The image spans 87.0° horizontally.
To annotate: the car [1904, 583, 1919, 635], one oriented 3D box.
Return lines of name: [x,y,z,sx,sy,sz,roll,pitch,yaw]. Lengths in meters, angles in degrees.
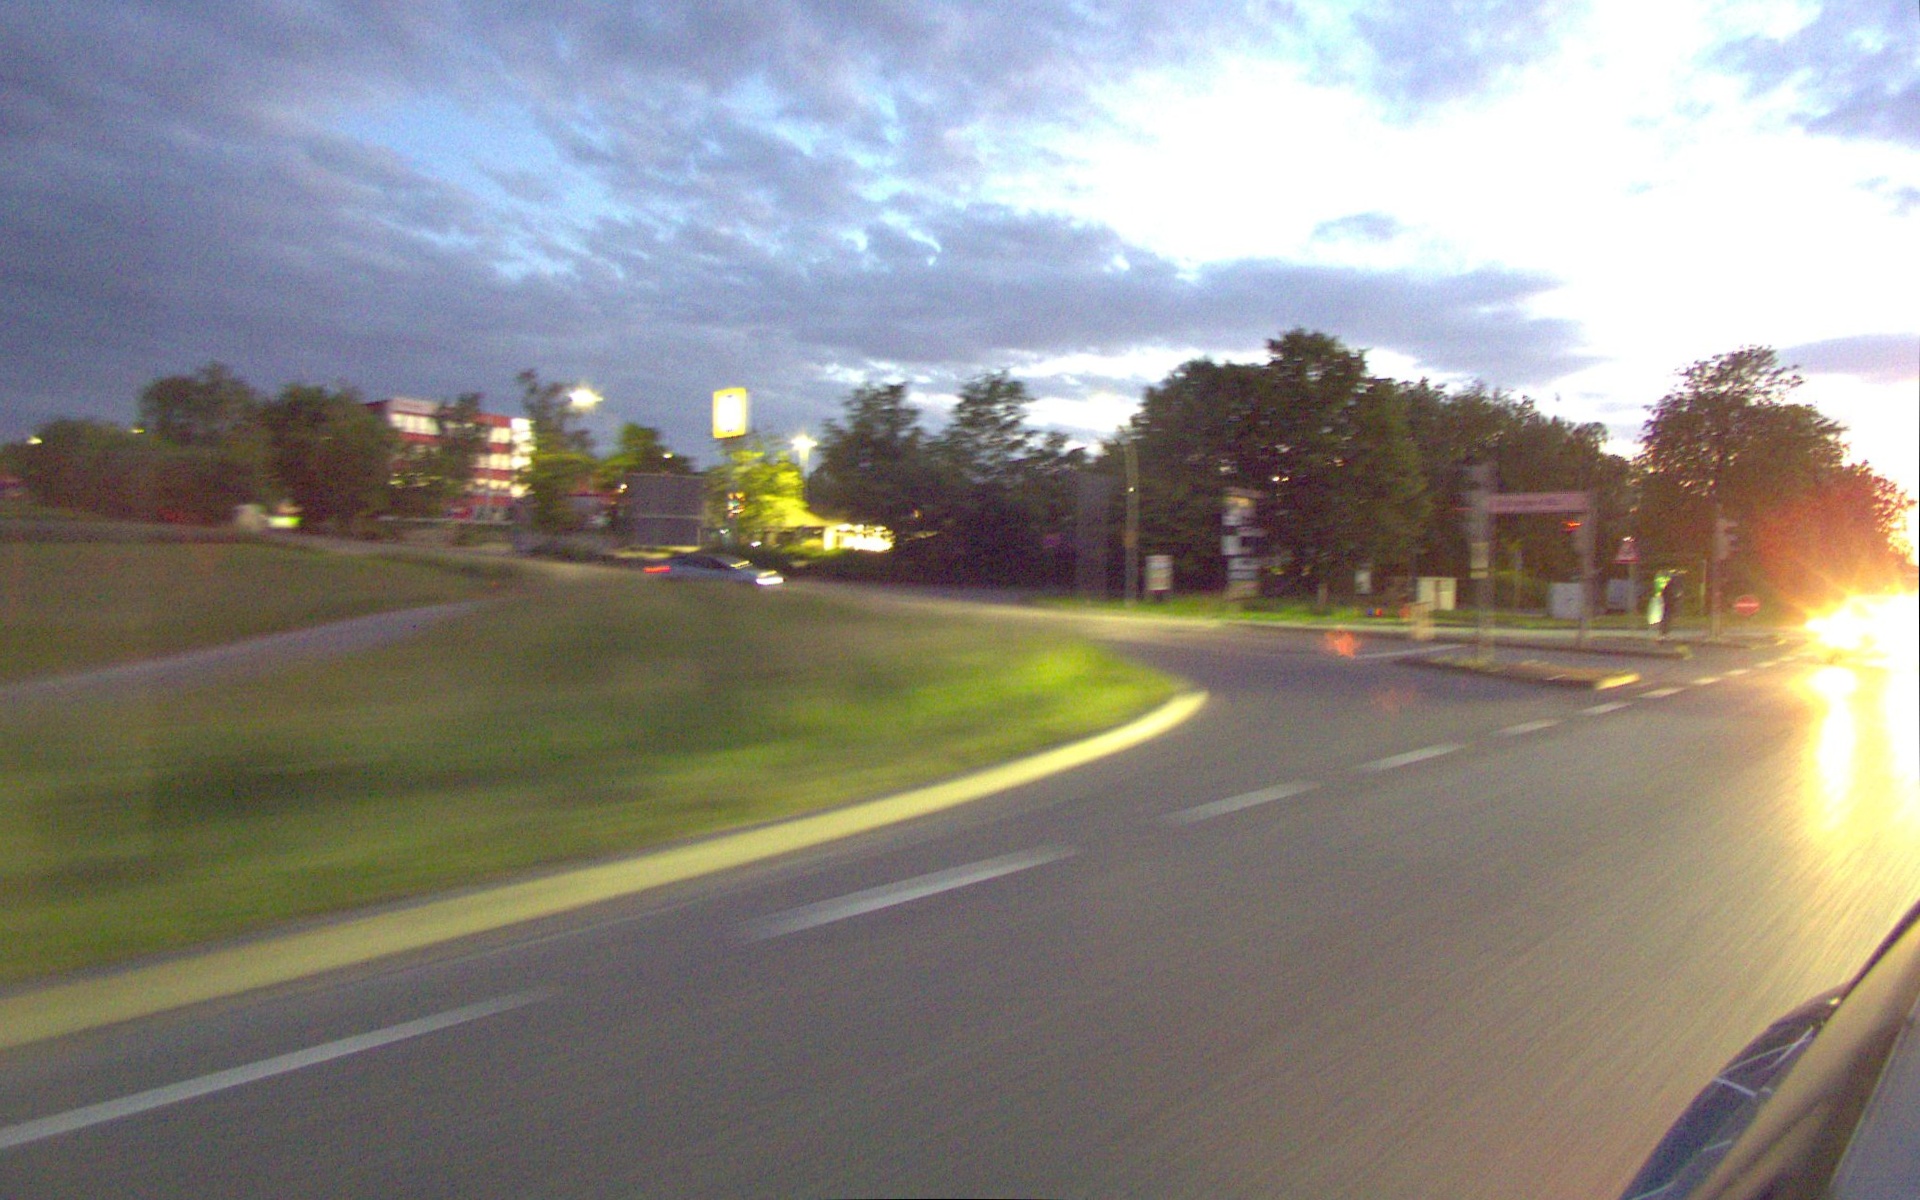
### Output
car: [31.035,0.301,31.647,4.227,1.577,1.899,1,-1,-43]

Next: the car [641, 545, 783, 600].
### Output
car: [-8.515,-0.969,35.018,4.393,1.684,2.001,2,3,0]

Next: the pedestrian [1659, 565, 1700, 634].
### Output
pedestrian: [21.444,-0.010,30.172,0.768,2.039,0.712,0,0,9]

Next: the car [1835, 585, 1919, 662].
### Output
car: [20.603,0.488,22.235,3.651,1.556,1.661,1,0,-43]
